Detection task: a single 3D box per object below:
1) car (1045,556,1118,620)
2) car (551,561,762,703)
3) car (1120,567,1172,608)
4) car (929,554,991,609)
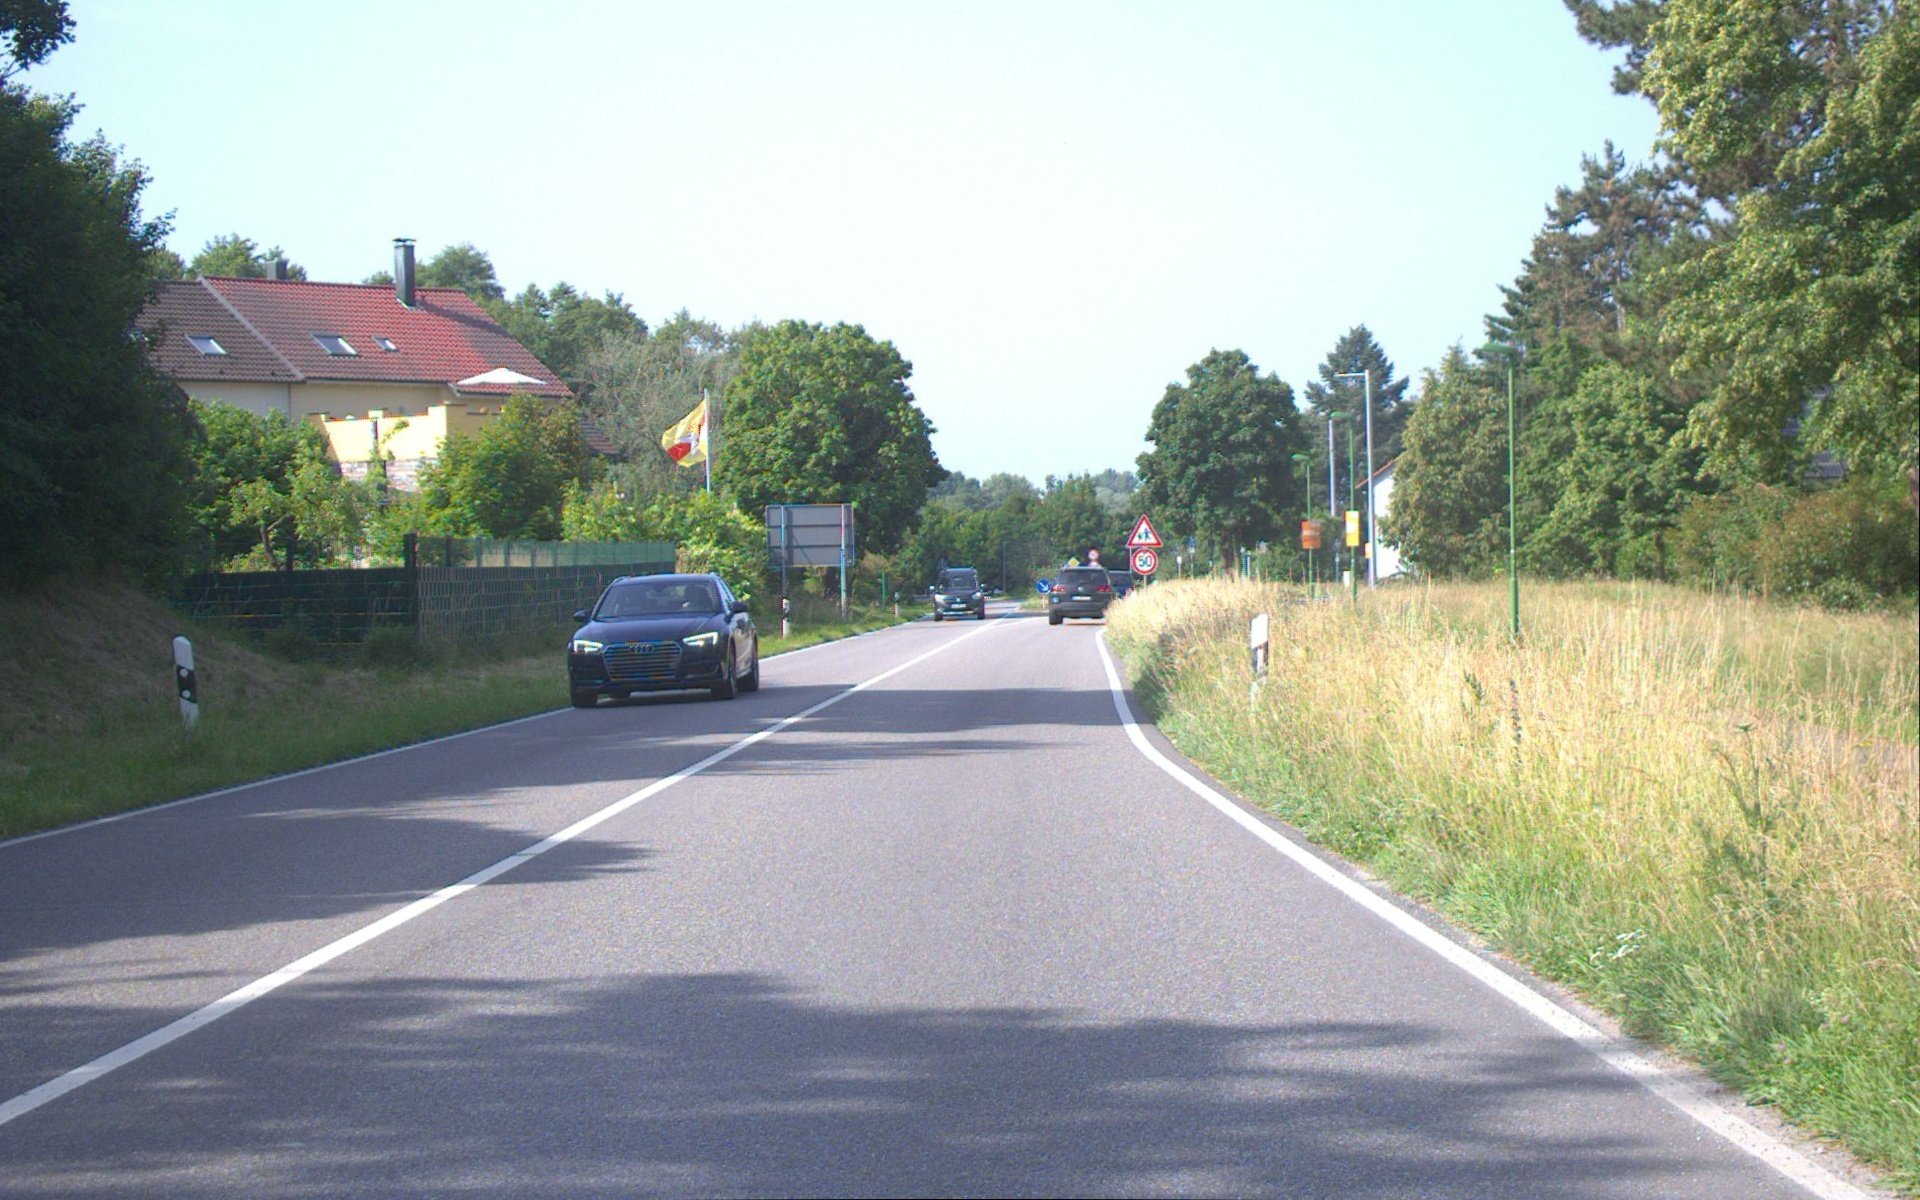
[{"bbox_3d":[3.497,-0.367,99.449,1.925,1.765,4.000,-1,1,0],"label":"car"},{"bbox_3d":[-3.407,0.321,39.390,1.870,1.418,4.577,-3,1,1],"label":"car"},{"bbox_3d":[7.034,-0.490,130.474,1.735,1.511,3.914,-1,1,0],"label":"car"},{"bbox_3d":[0.009,-0.657,119.676,1.939,1.811,4.241,-3,0,2],"label":"car"}]
